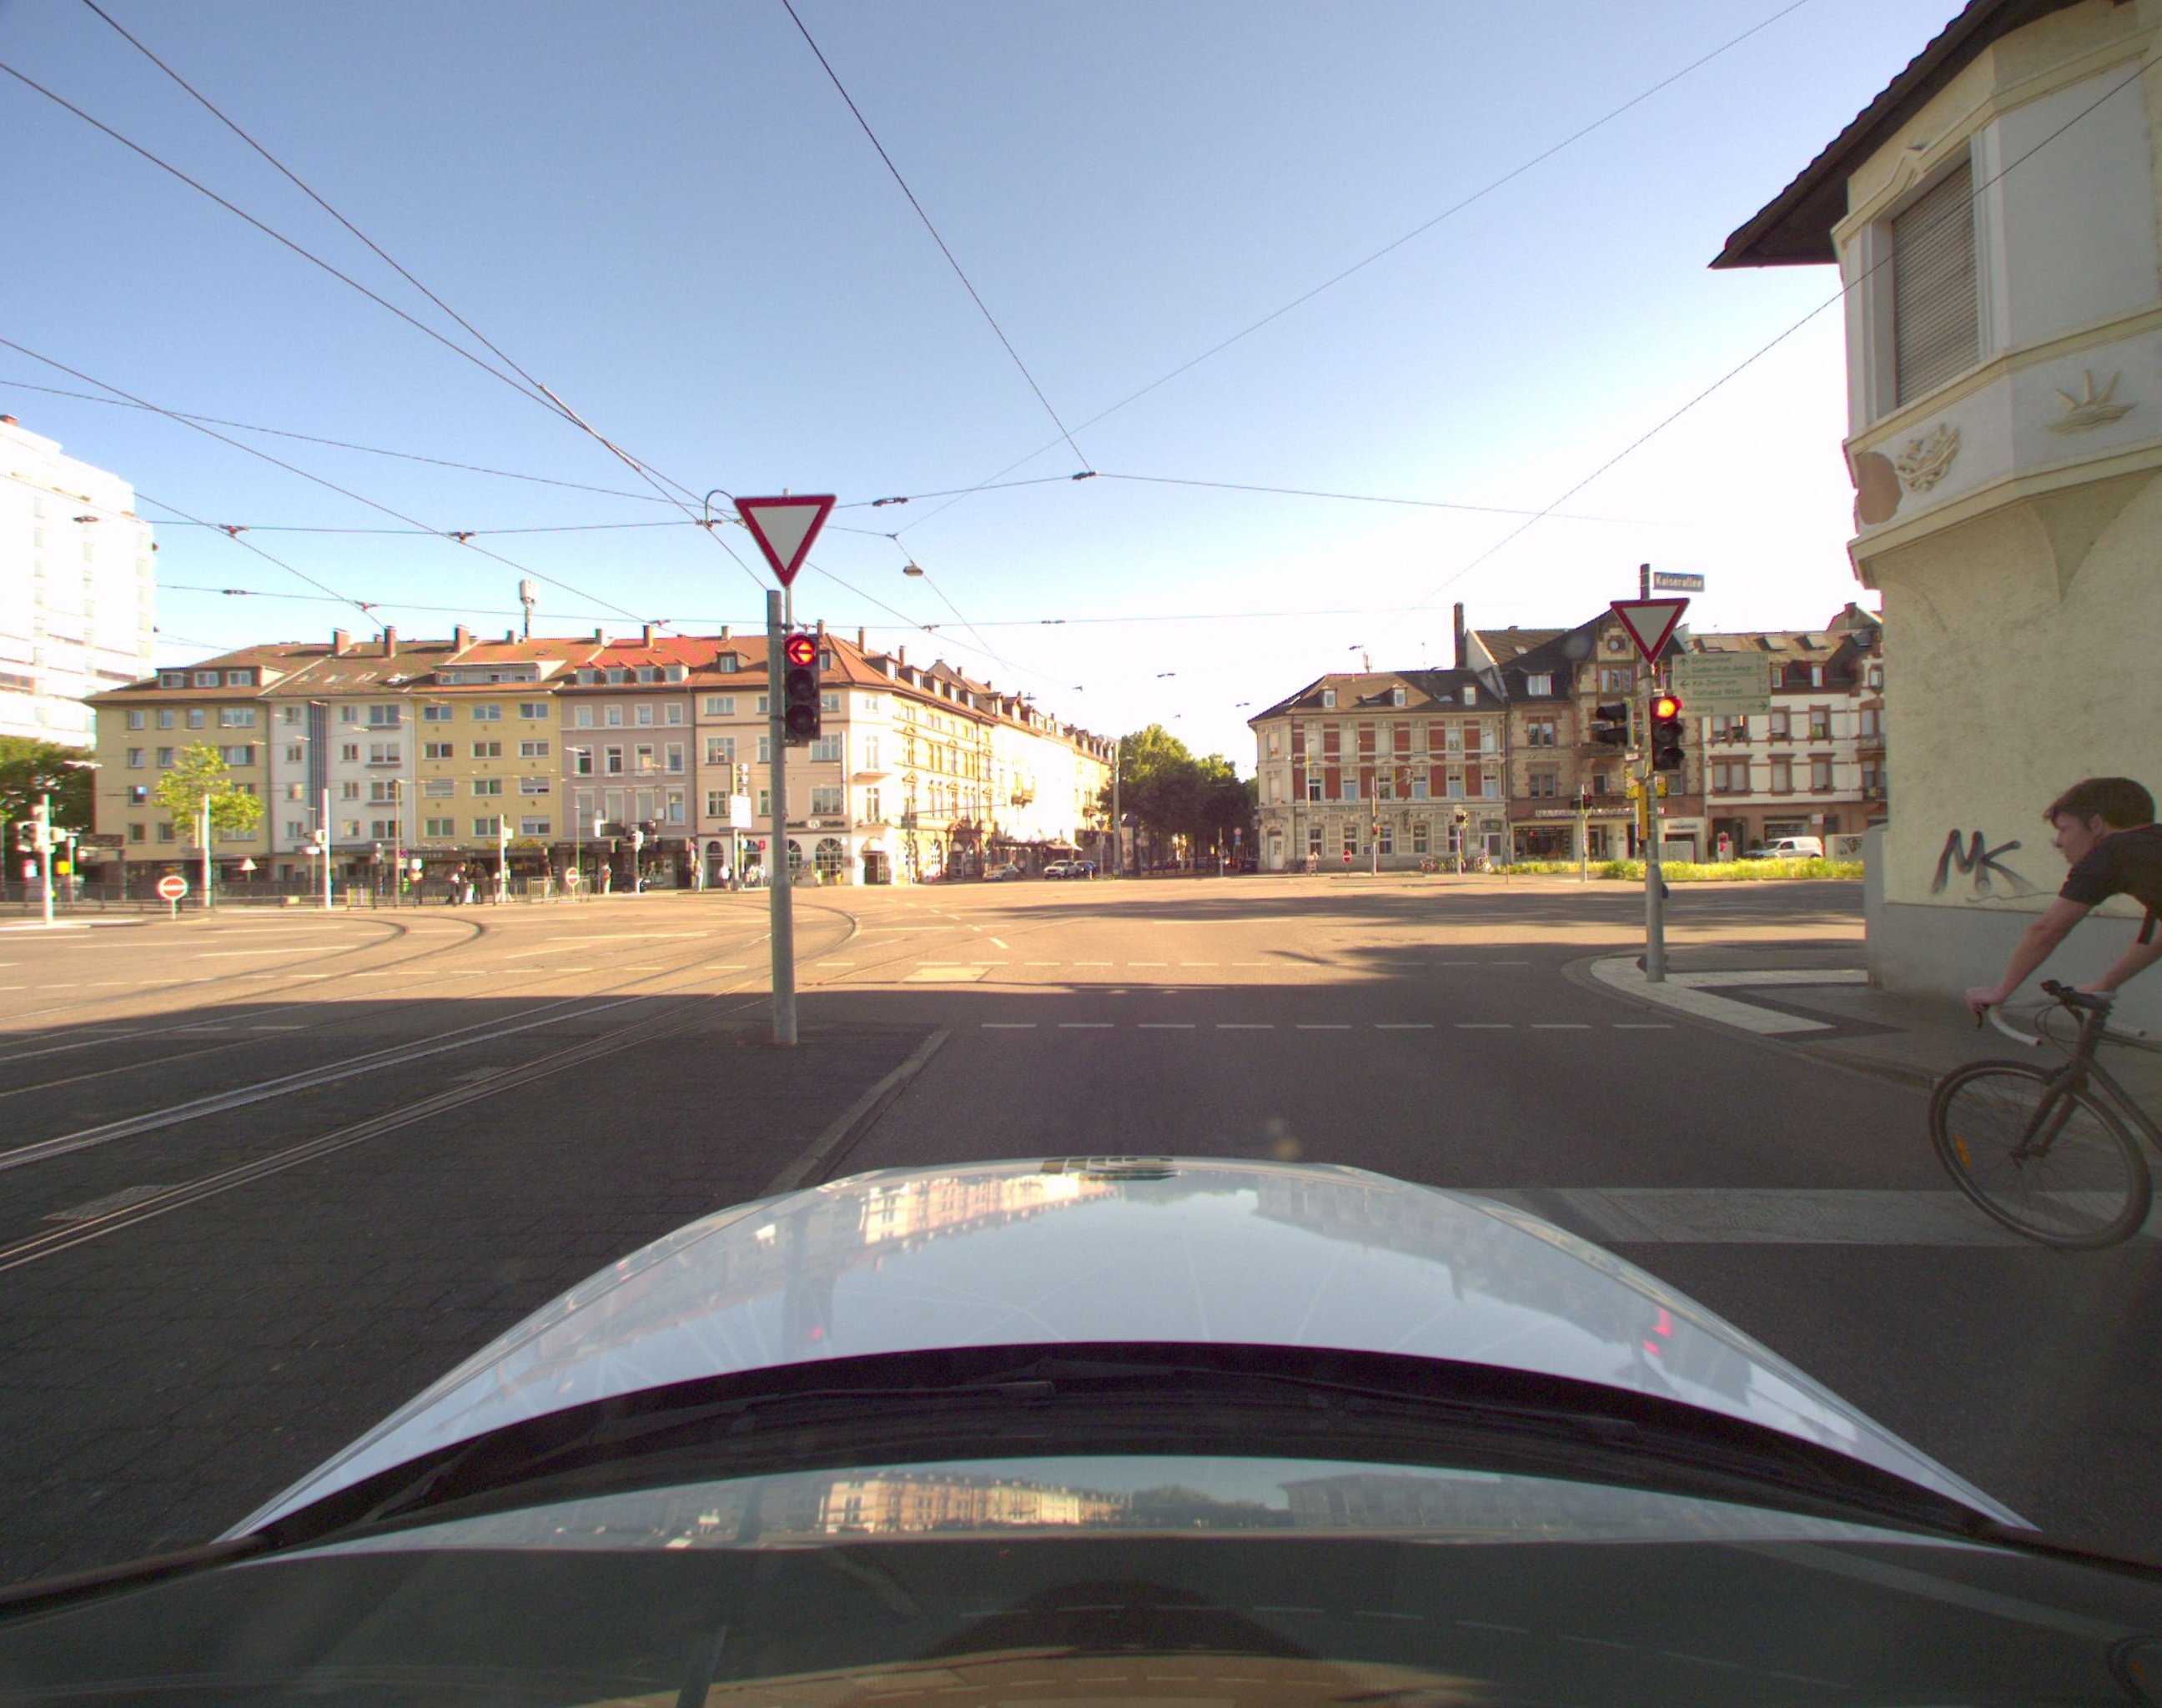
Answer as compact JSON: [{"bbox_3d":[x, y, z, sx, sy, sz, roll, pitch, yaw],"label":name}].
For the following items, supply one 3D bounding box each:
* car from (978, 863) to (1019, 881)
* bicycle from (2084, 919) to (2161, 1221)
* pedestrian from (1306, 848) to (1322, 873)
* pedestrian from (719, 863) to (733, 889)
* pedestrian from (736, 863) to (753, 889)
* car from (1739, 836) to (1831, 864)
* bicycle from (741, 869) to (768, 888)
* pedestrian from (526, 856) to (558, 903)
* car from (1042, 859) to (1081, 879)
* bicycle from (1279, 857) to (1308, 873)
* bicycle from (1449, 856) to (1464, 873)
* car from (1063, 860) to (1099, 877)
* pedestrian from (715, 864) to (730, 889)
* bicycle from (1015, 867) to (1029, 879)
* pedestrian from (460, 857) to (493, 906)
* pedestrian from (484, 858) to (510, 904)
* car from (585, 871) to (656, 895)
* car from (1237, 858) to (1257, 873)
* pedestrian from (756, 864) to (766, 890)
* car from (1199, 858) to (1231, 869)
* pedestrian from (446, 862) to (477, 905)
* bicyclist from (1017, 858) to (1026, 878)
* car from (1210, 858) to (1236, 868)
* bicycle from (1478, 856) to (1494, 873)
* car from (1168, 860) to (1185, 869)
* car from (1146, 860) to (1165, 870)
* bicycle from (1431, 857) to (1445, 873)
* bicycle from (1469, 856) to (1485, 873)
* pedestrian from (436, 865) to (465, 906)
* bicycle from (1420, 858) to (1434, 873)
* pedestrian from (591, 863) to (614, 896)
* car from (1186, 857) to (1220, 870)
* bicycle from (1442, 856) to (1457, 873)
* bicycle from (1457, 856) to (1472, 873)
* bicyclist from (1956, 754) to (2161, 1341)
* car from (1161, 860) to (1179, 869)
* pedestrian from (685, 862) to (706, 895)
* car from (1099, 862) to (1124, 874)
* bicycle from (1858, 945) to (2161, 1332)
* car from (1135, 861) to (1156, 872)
[{"bbox_3d":[-6.758,1.477,67.363,1.977,1.361,3.836,-1,0,18],"label":"car"},{"bbox_3d":[4.509,0.859,2.490,0.568,1.165,1.890,-1,0,2],"label":"bicycle"},{"bbox_3d":[16.045,0.447,56.073,1.029,1.712,0.631,-1,-1,10],"label":"pedestrian"},{"bbox_3d":[-23.073,1.410,52.930,0.744,1.682,0.623,-1,0,-23],"label":"pedestrian"},{"bbox_3d":[-21.813,1.416,52.796,0.621,1.682,0.747,-1,0,22],"label":"pedestrian"},{"bbox_3d":[45.295,-0.248,52.427,4.239,1.622,1.999,-1,0,-1],"label":"car"},{"bbox_3d":[-23.104,1.747,57.620,1.714,1.276,0.385,-1,0,-16],"label":"bicycle"},{"bbox_3d":[-21.477,1.020,32.450,0.764,1.829,0.723,-1,0,1],"label":"pedestrian"},{"bbox_3d":[-1.589,1.217,67.670,1.977,1.516,4.189,-1,0,18],"label":"car"},{"bbox_3d":[14.915,0.749,57.142,1.940,1.054,0.717,-1,0,11],"label":"bicycle"},{"bbox_3d":[24.316,0.678,52.809,0.483,1.020,1.789,-1,0,12],"label":"bicycle"},{"bbox_3d":[0.031,1.310,73.807,1.977,1.404,4.189,-1,0,18],"label":"car"},{"bbox_3d":[-24.656,1.567,56.040,0.740,1.682,0.626,-1,0,-10],"label":"pedestrian"},{"bbox_3d":[-4.761,1.531,65.569,0.650,1.000,1.671,-1,-1,14],"label":"bicycle"},{"bbox_3d":[-23.208,1.045,31.270,0.625,1.850,0.778,-1,0,1],"label":"pedestrian"},{"bbox_3d":[-23.186,1.051,32.343,0.558,1.786,0.560,-1,0,1],"label":"pedestrian"},{"bbox_3d":[-30.330,1.903,53.698,3.711,1.491,1.820,0,-1,4],"label":"car"},{"bbox_3d":[16.800,1.130,82.295,1.742,1.420,4.016,-1,0,14],"label":"car"},{"bbox_3d":[-15.817,1.135,40.250,0.364,1.253,0.449,-1,0,-10],"label":"pedestrian"},{"bbox_3d":[17.334,1.223,105.163,3.959,1.288,1.700,-1,0,13],"label":"car"},{"bbox_3d":[-24.137,1.144,31.717,0.738,1.635,0.572,-1,0,1],"label":"pedestrian"},{"bbox_3d":[-4.767,1.093,65.471,0.486,1.601,0.668,-1,0,12],"label":"bicyclist"},{"bbox_3d":[19.378,1.211,111.192,3.409,1.239,1.582,-1,0,13],"label":"car"},{"bbox_3d":[26.335,0.665,52.921,0.483,1.020,1.789,-1,0,12],"label":"bicycle"},{"bbox_3d":[16.025,1.736,136.421,1.977,1.404,4.189,-1,0,18],"label":"car"},{"bbox_3d":[11.197,1.687,122.503,1.977,1.404,4.189,-1,0,18],"label":"car"},{"bbox_3d":[23.161,0.719,52.877,0.483,1.020,1.789,-1,0,12],"label":"bicycle"},{"bbox_3d":[25.631,0.668,52.766,0.483,1.020,1.789,-1,0,12],"label":"bicycle"},{"bbox_3d":[-25.270,1.254,32.629,0.696,1.581,0.560,-1,0,1],"label":"pedestrian"},{"bbox_3d":[22.485,0.730,52.981,0.483,0.914,1.789,-1,0,12],"label":"bicycle"},{"bbox_3d":[-24.902,1.308,42.378,0.764,1.682,0.628,-1,0,1],"label":"pedestrian"},{"bbox_3d":[14.961,1.154,99.509,3.959,1.454,1.687,-1,0,13],"label":"car"},{"bbox_3d":[23.857,0.681,52.759,0.483,1.020,1.789,-1,0,12],"label":"bicycle"},{"bbox_3d":[24.819,0.674,52.718,0.483,1.020,1.789,-1,0,12],"label":"bicycle"},{"bbox_3d":[3.564,0.577,2.502,0.649,1.767,0.995,-1,0,2],"label":"bicyclist"},{"bbox_3d":[14.326,1.707,131.262,1.977,1.404,4.189,-1,0,18],"label":"car"},{"bbox_3d":[-19.958,1.272,42.135,0.738,1.682,0.628,-1,0,1],"label":"pedestrian"},{"bbox_3d":[3.830,1.711,102.176,1.977,1.404,4.189,-1,0,18],"label":"car"},{"bbox_3d":[3.566,0.919,2.504,0.568,1.058,1.890,-1,0,2],"label":"bicycle"},{"bbox_3d":[9.243,1.812,116.825,1.977,1.404,4.189,-1,0,18],"label":"car"}]
